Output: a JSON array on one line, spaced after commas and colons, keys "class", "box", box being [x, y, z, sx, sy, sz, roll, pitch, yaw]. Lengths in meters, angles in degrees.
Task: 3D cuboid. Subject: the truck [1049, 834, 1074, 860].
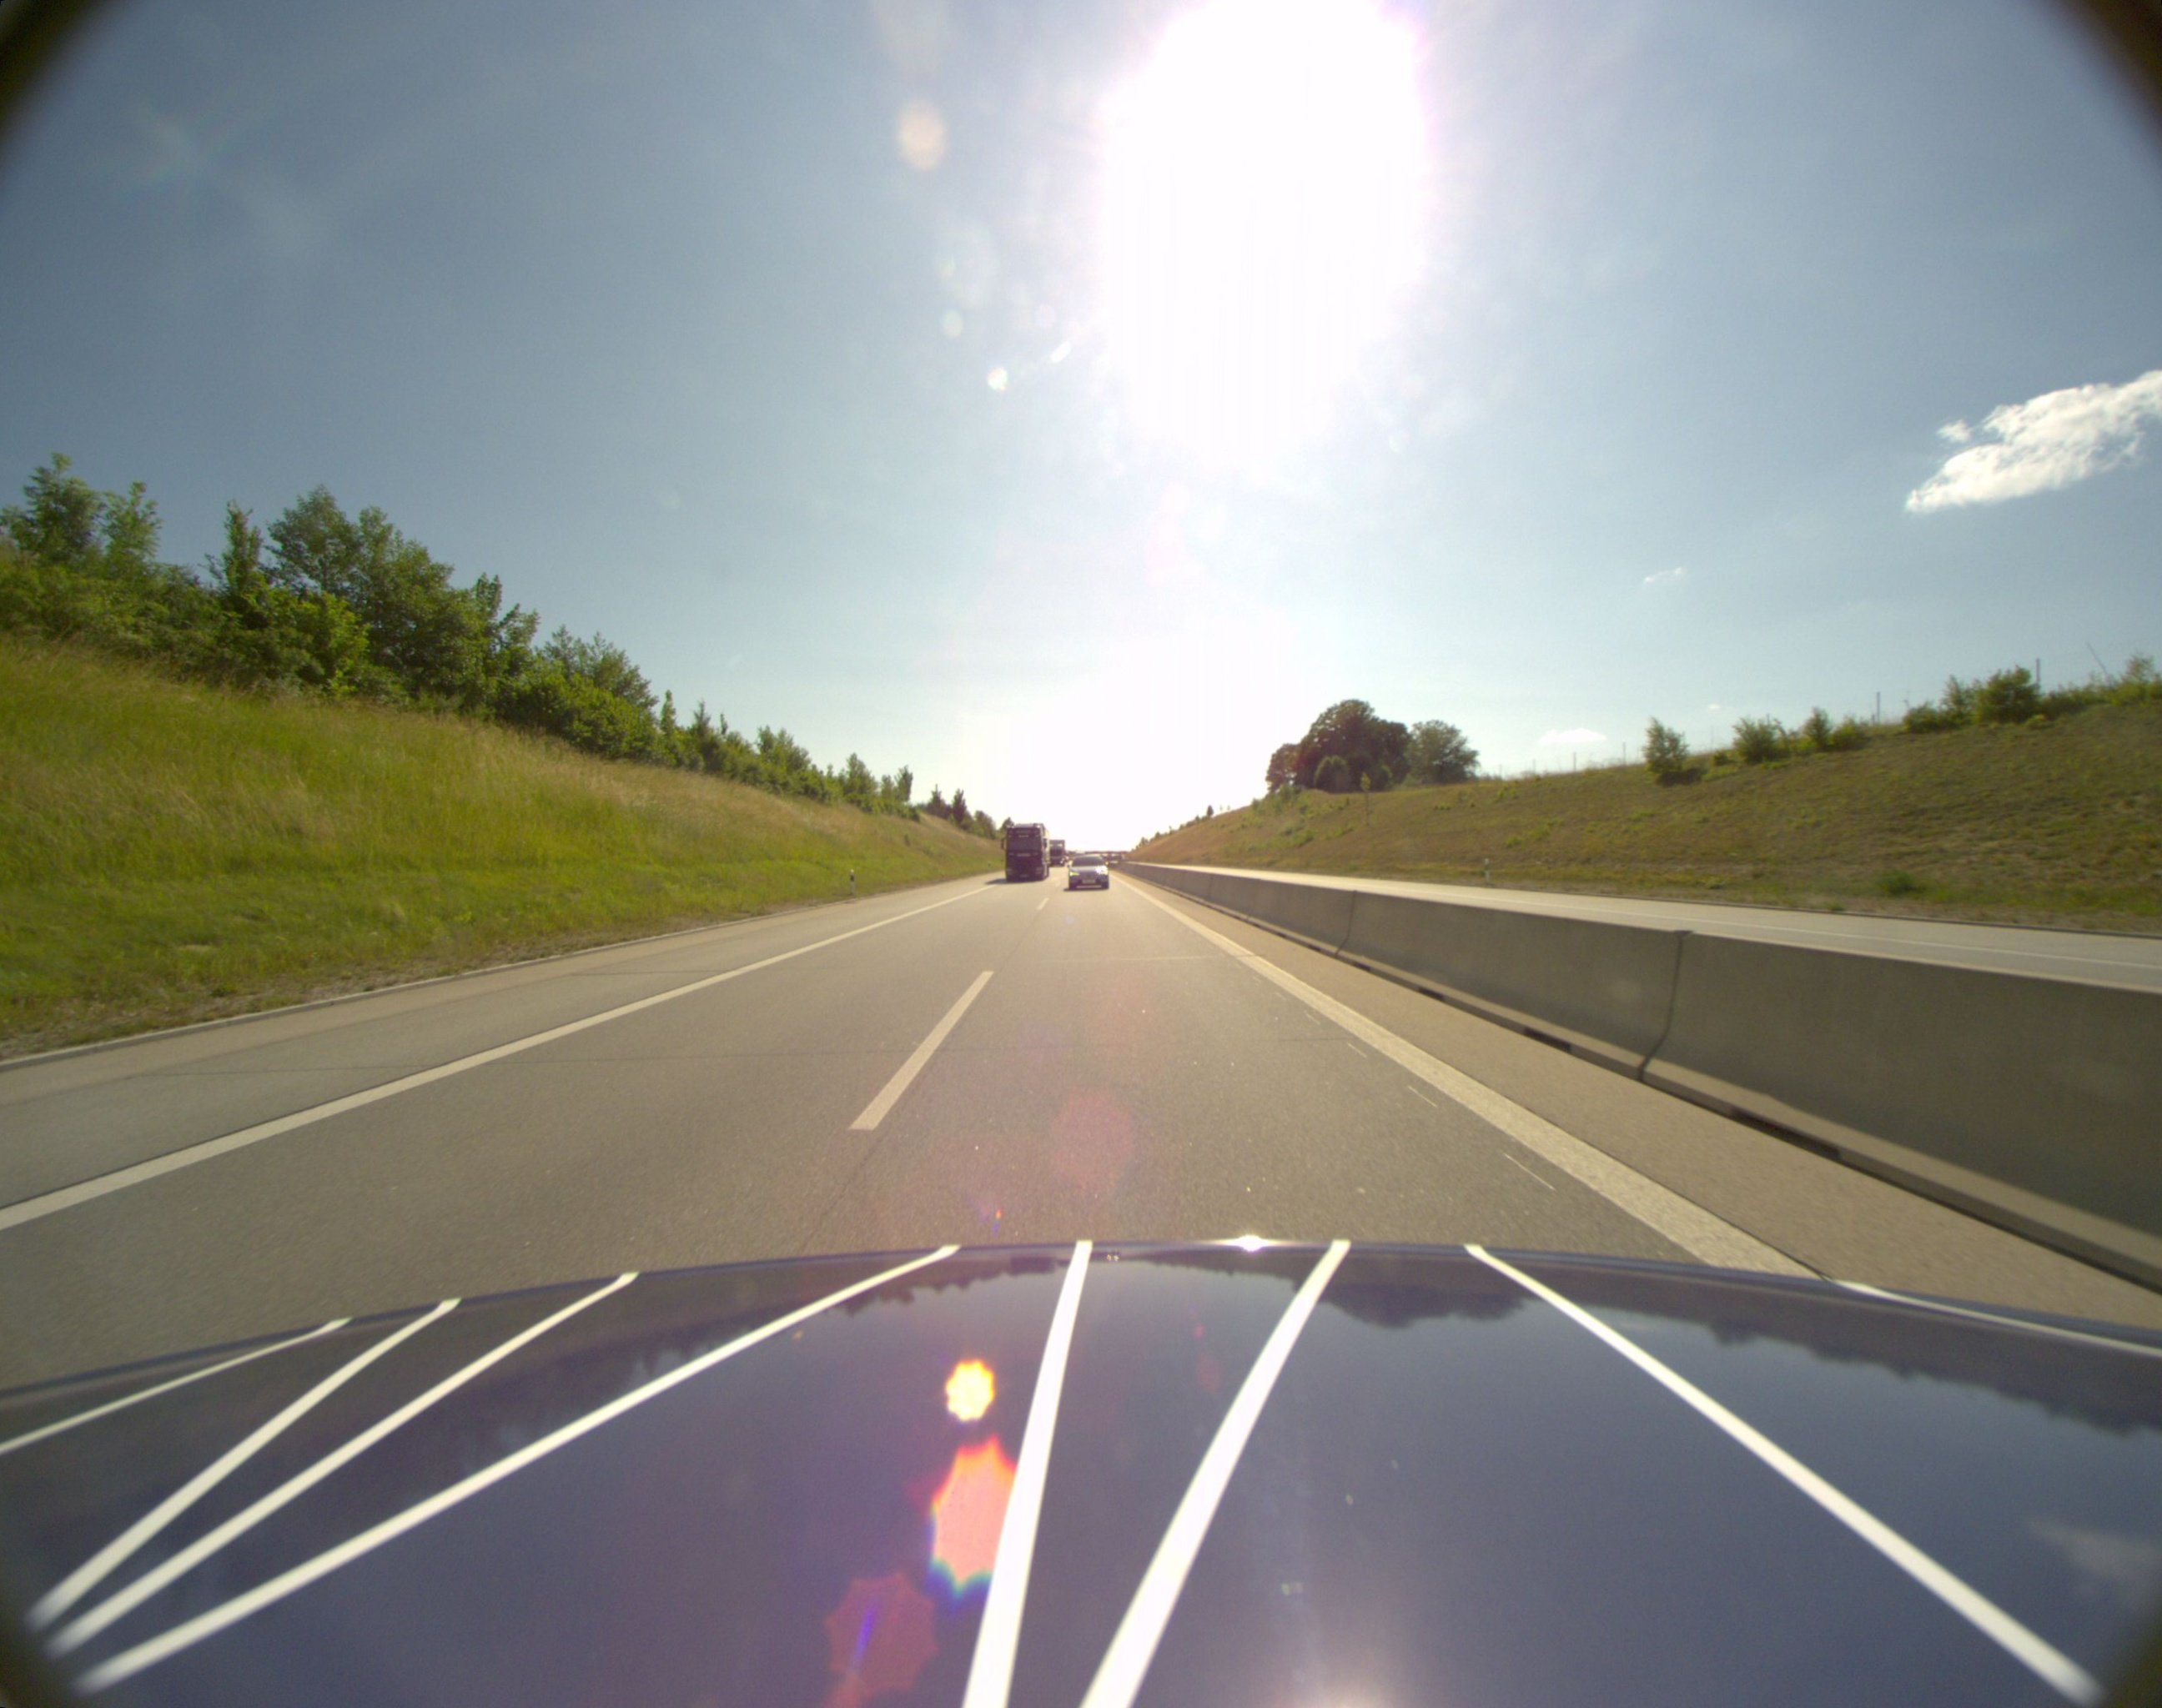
[{"class": "truck", "box": [-2.902, -1.026, 115.367, 3.024, 3.795, 13.404, 1, 0, 2]}]

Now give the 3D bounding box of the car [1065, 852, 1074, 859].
[{"class": "car", "box": [-2.446, 0.238, 160.407, 1.708, 1.433, 3.633, 1, 0, -4]}]

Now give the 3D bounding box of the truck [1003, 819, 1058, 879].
[{"class": "truck", "box": [-3.416, -0.345, 55.097, 2.623, 3.795, 13.404, -1, 0, 2]}]

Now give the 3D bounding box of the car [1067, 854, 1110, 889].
[{"class": "car", "box": [0.396, 0.790, 35.730, 1.794, 1.501, 3.636, -1, 0, 4]}]

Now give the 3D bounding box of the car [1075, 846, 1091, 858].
[{"class": "car", "box": [0.327, -0.342, 137.331, 2.816, 2.143, 5.946, 1, 0, 0]}]
